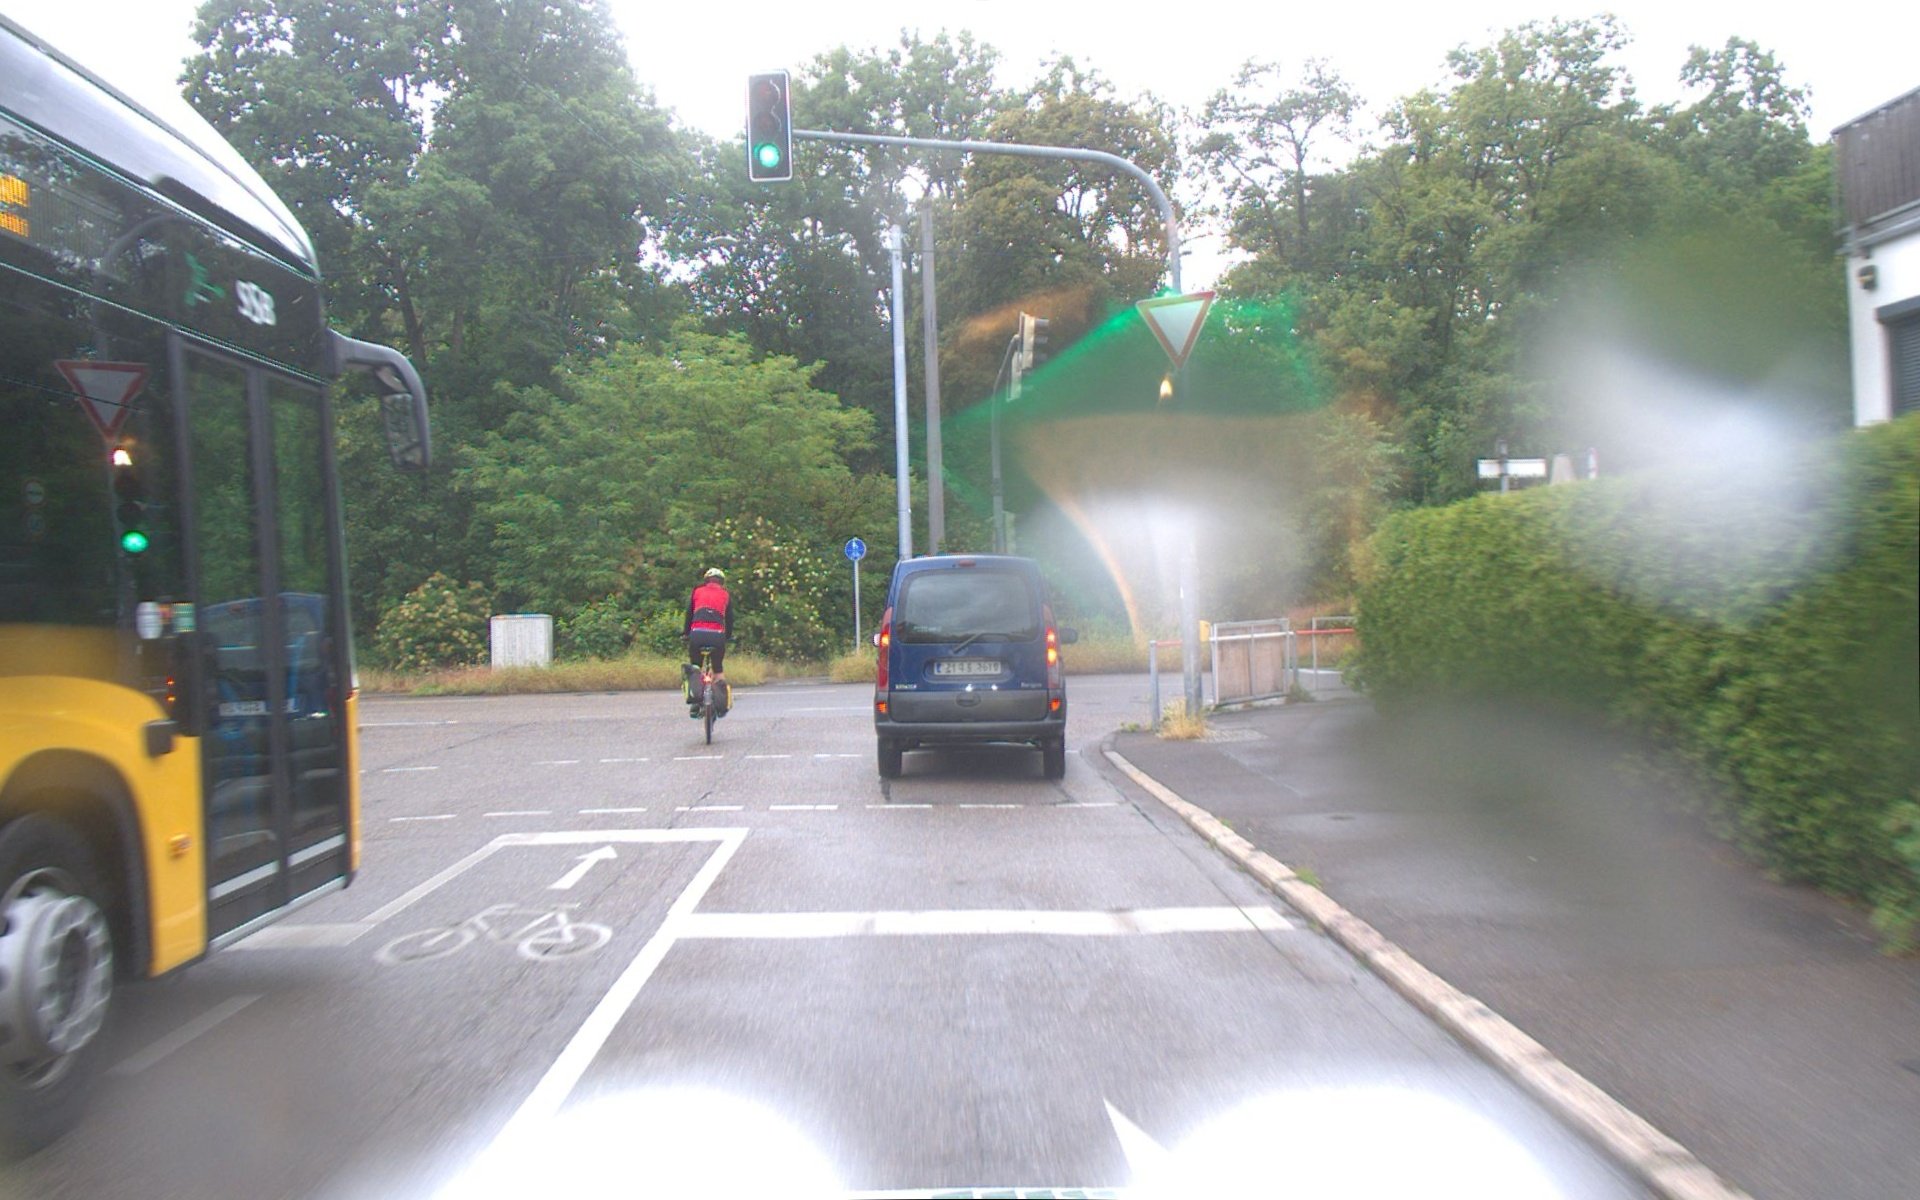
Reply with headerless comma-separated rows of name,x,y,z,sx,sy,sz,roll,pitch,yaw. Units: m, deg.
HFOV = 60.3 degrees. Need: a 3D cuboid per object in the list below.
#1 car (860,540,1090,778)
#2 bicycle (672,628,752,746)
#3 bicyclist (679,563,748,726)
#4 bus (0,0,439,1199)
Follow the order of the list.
car,0.109,0.490,15.165,1.772,1.829,3.999,-2,-1,0
bicycle,-2.614,0.892,17.621,0.566,1.115,2.153,-1,0,-2
bicyclist,-2.623,0.454,17.678,0.566,1.681,1.048,-1,0,-2
bus,-3.659,-0.159,2.824,2.841,3.457,9.037,-3,0,-2
